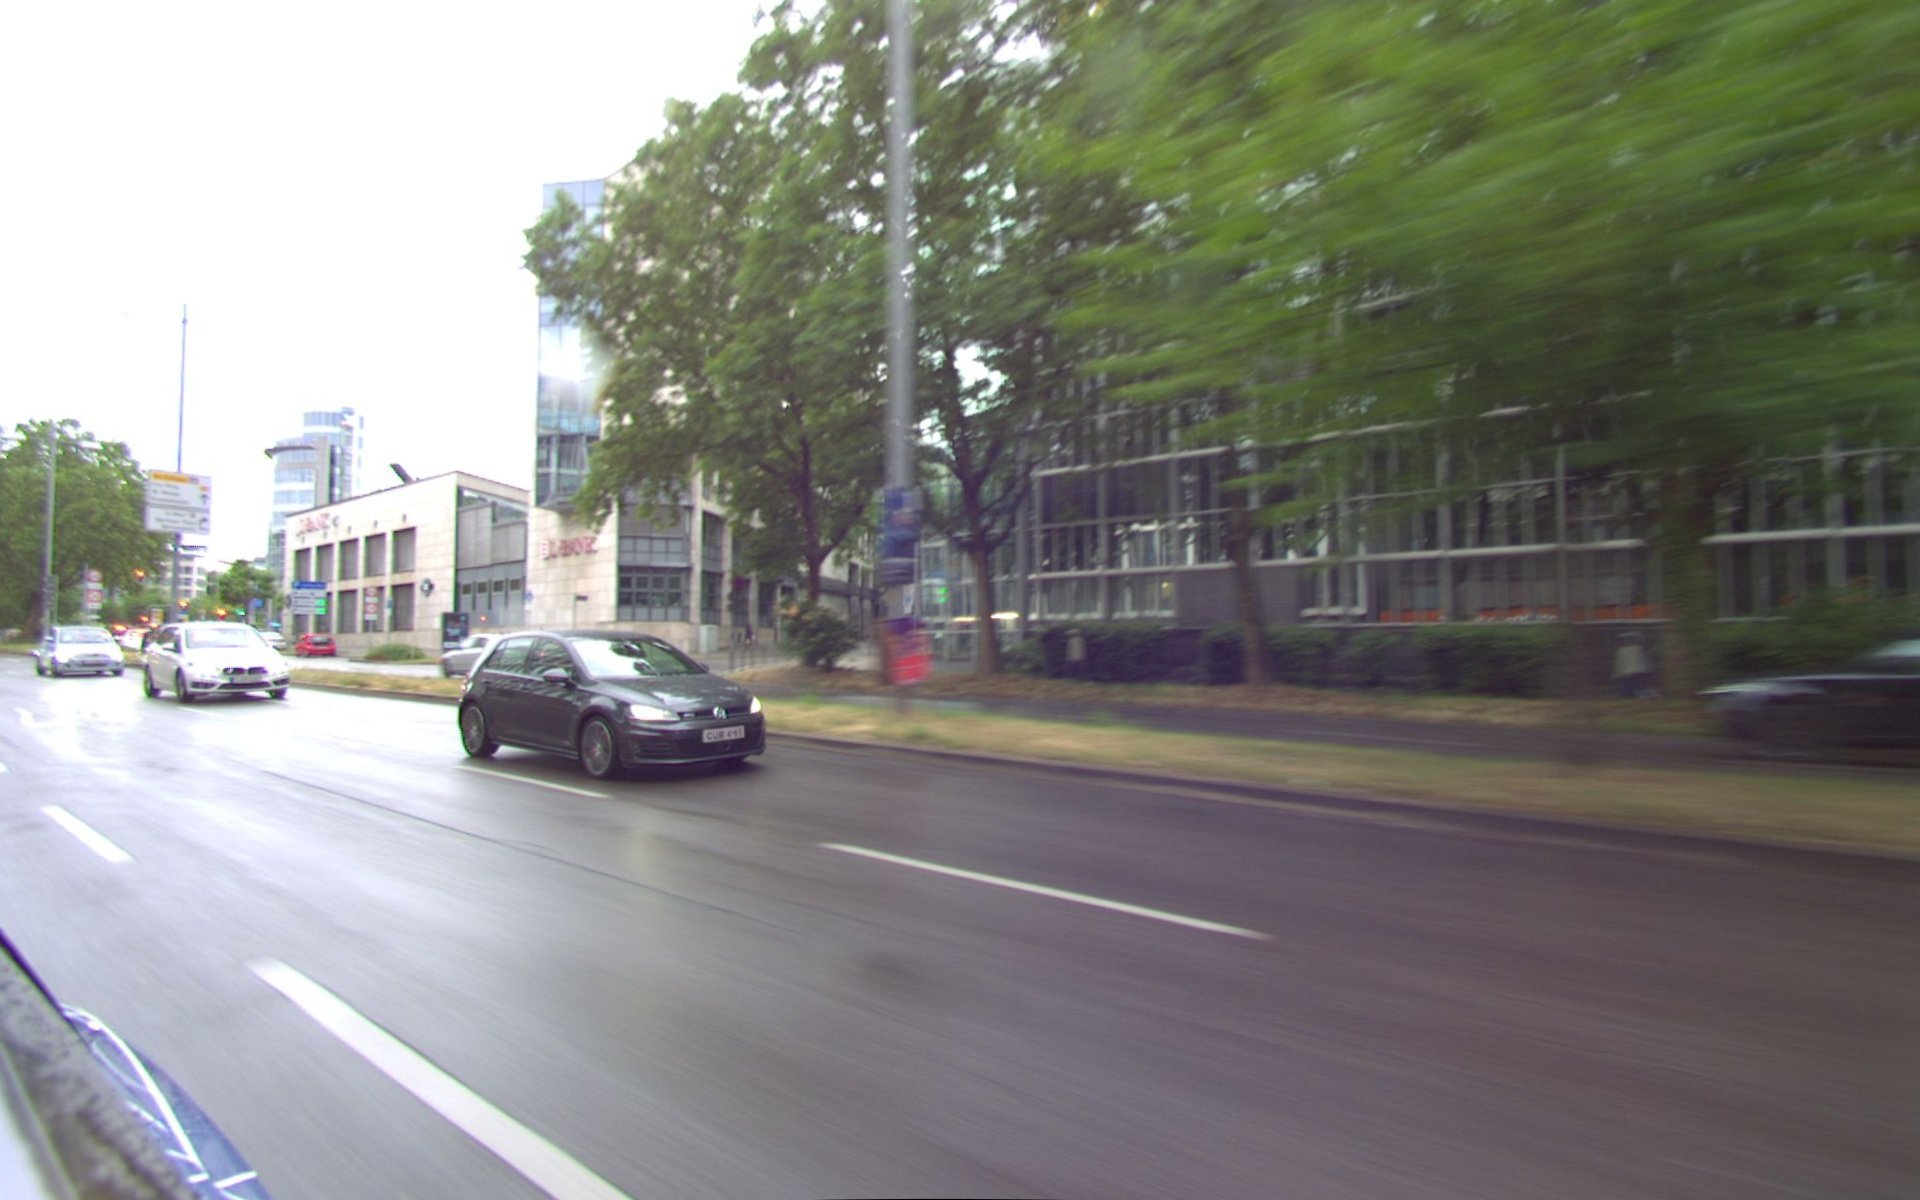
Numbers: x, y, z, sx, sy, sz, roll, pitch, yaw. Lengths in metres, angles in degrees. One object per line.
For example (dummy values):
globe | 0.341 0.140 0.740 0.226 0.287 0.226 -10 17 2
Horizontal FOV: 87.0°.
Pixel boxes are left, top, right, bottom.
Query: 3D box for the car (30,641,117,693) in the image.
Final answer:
car | -27.332 2.011 31.171 3.492 1.452 1.591 -2 -1 41

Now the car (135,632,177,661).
car | -58.471 3.358 73.576 1.809 2.017 5.107 3 -3 -44

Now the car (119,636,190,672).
car | -39.680 2.627 49.790 4.678 1.693 1.854 -1 -3 41

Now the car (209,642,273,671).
car | -38.464 2.999 54.071 4.756 1.449 1.673 -1 -3 41

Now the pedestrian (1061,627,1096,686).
pedestrian | 3.711 1.776 31.733 0.802 1.821 0.727 -3 -4 41

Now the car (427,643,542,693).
car | -15.267 2.159 32.402 4.076 1.475 1.645 -2 -5 39

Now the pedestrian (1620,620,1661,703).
pedestrian | 15.310 1.367 22.765 0.617 1.821 0.715 -3 -4 41

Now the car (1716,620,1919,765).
car | 12.897 1.216 12.865 5.179 1.782 1.980 -2 -6 39

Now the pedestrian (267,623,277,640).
pedestrian | -76.620 3.493 112.690 1.124 1.939 0.582 -2 -2 41

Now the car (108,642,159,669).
car | -45.184 3.027 55.287 4.116 1.370 1.579 -1 -3 43

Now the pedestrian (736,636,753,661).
pedestrian | -13.530 3.056 63.645 0.815 1.582 0.664 -2 -3 19

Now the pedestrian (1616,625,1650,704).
pedestrian | 14.867 1.419 22.356 0.511 1.699 0.553 -3 -4 41

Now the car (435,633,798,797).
car | -3.838 1.113 11.030 4.116 1.463 1.767 -2 -3 38

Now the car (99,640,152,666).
car | -50.145 3.167 60.753 4.580 1.448 1.682 -1 -3 41

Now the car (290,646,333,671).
car | -40.386 3.621 62.985 1.574 1.426 3.403 3 -3 -45

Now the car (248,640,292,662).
car | -49.241 3.627 72.155 1.727 1.426 4.708 3 -3 -45

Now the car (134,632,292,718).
car | -15.578 1.485 21.045 3.997 1.608 1.758 -1 -3 40
